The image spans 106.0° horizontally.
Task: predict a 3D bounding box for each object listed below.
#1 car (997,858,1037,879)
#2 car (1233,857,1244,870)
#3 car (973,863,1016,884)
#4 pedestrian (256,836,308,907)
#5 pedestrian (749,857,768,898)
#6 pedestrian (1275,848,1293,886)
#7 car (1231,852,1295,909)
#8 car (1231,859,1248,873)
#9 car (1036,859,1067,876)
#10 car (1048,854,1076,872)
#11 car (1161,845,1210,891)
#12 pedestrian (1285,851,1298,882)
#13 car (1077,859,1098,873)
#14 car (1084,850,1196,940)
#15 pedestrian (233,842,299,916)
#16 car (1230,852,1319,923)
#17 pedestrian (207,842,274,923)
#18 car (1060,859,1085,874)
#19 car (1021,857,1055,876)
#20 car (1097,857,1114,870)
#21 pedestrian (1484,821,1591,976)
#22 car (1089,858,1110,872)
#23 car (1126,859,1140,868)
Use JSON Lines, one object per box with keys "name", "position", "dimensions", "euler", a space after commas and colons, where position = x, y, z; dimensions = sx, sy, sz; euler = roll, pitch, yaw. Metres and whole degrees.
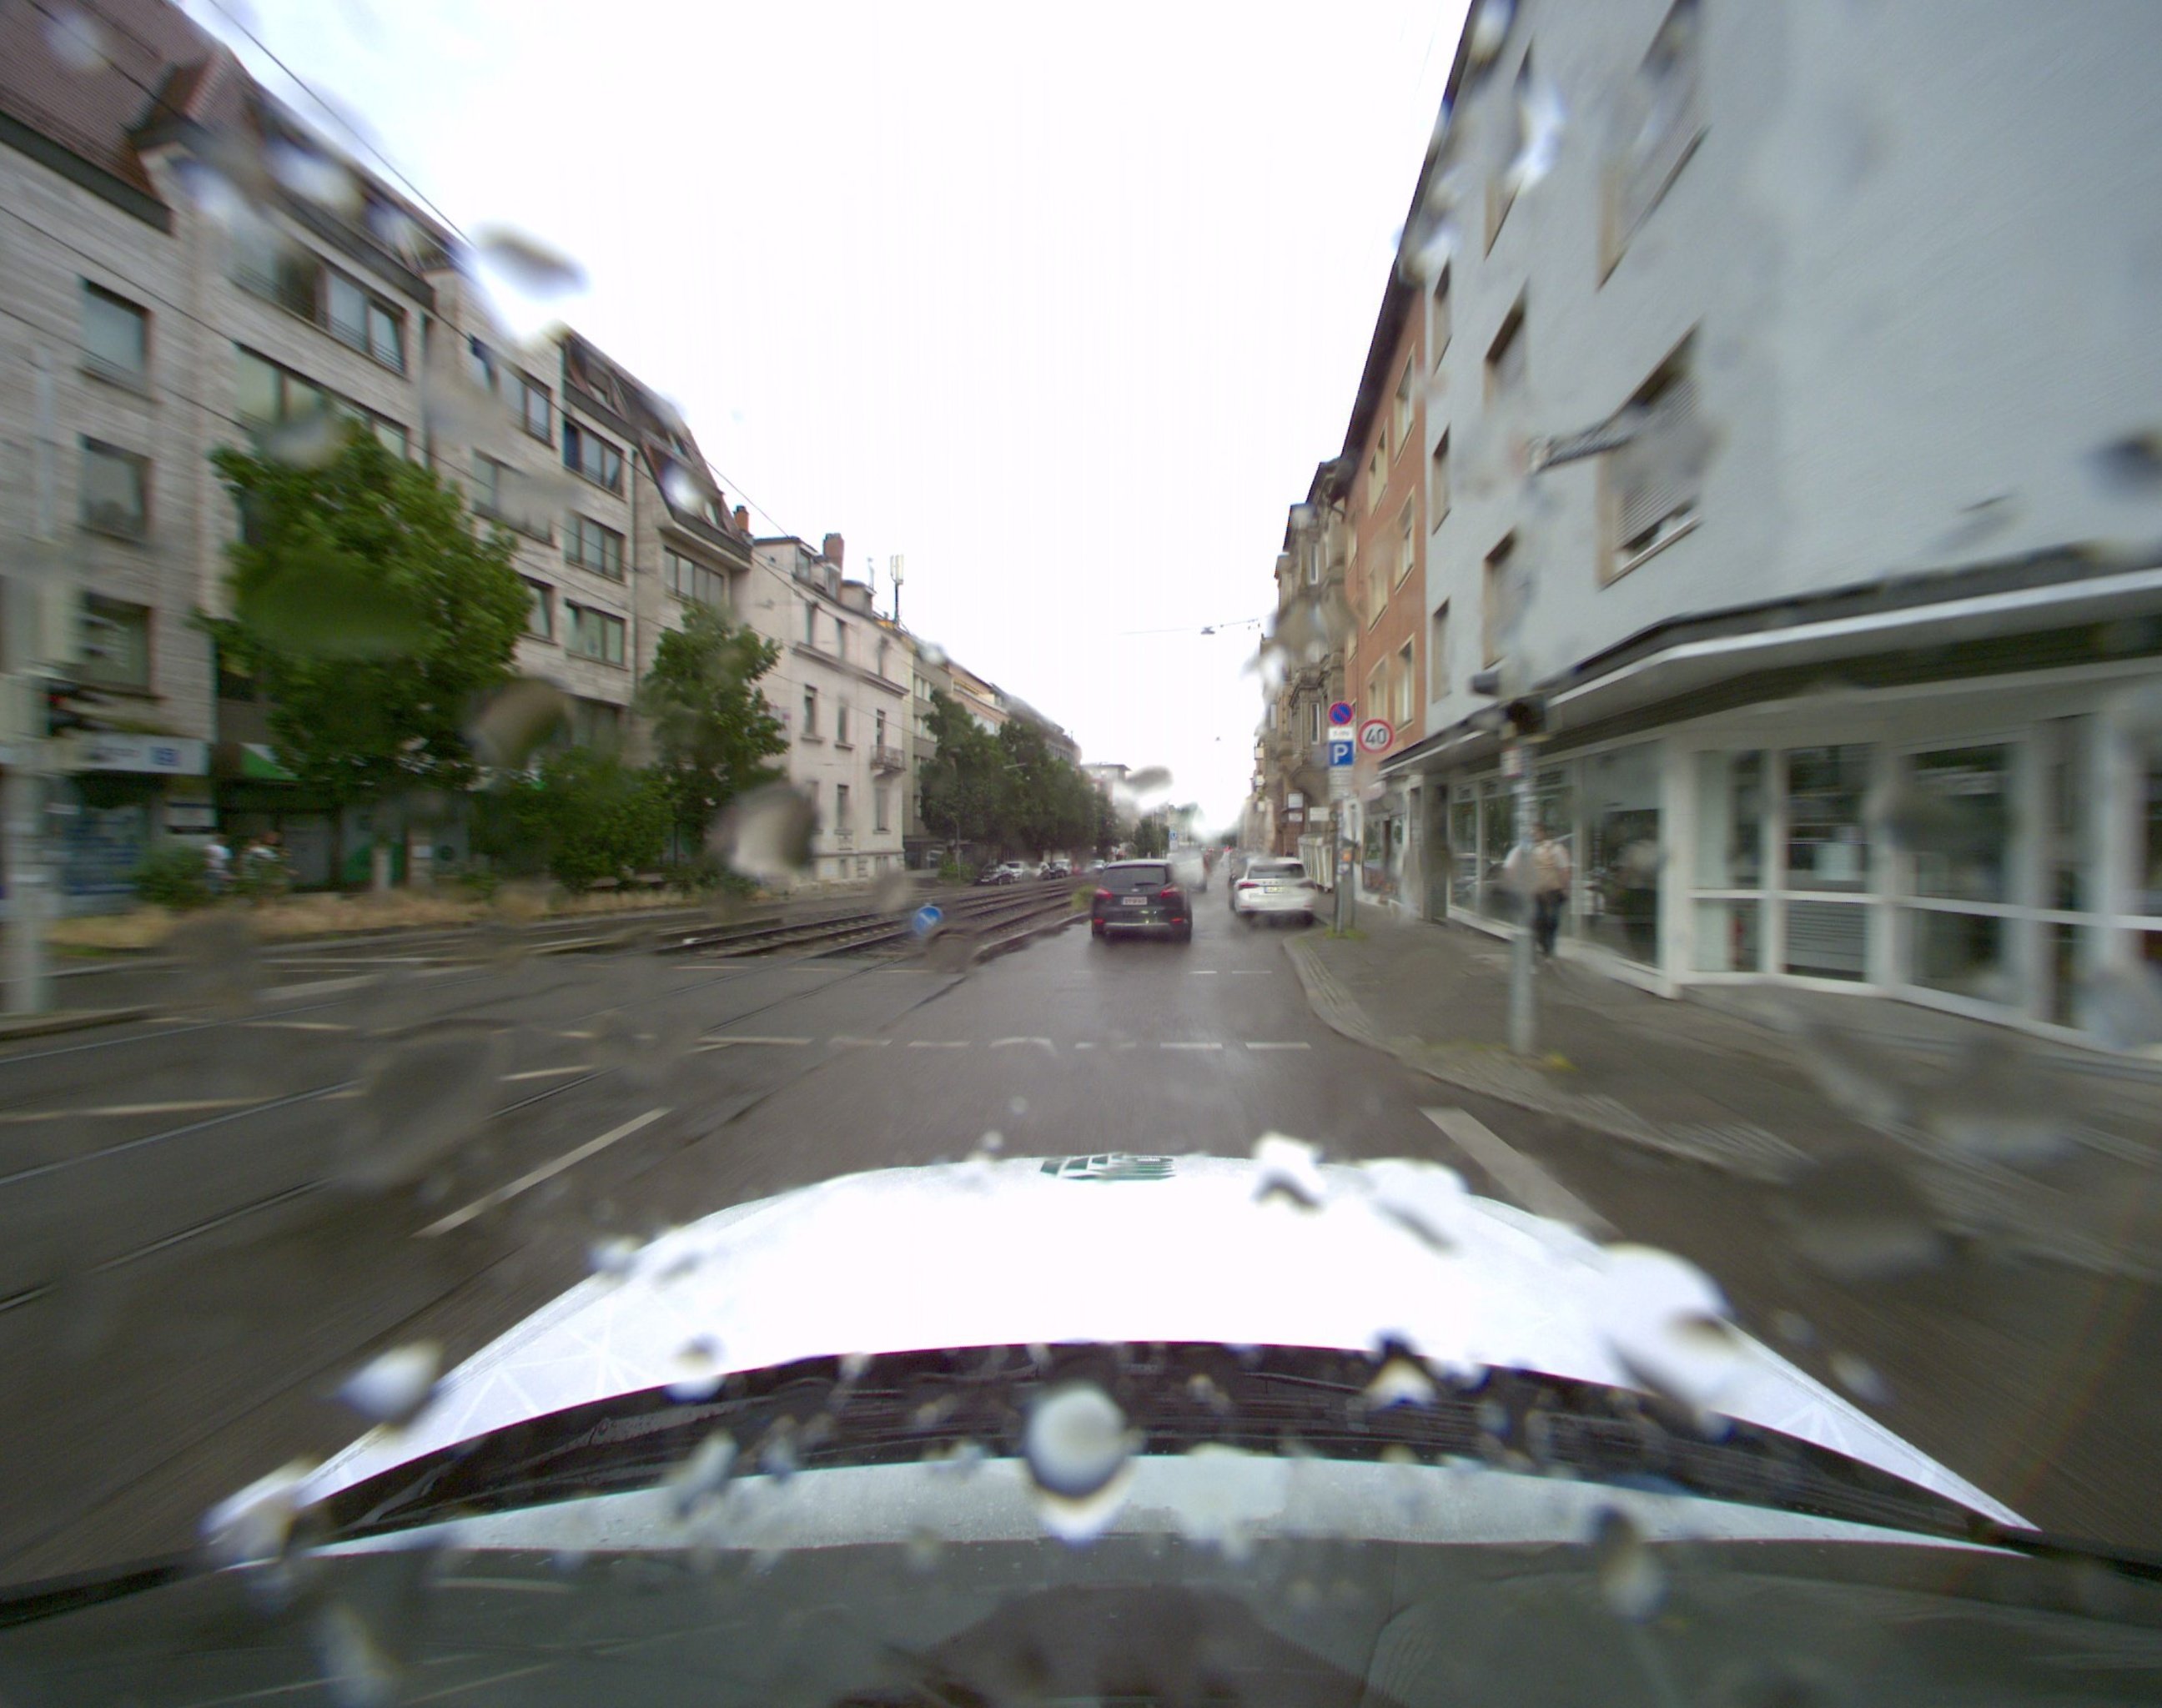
{"name": "car", "position": [-4.906, 1.115, 62.830], "dimensions": [1.844, 1.549, 4.734], "euler": [1, -2, 11]}
{"name": "car", "position": [23.810, 1.395, 122.949], "dimensions": [1.581, 1.781, 3.789], "euler": [2, -2, 11]}
{"name": "car", "position": [-5.948, 1.368, 56.670], "dimensions": [1.683, 1.378, 4.734], "euler": [1, -2, 11]}
{"name": "pedestrian", "position": [-18.412, 0.408, 18.770], "dimensions": [0.501, 1.598, 0.587], "euler": [2, -2, 8]}
{"name": "pedestrian", "position": [-13.331, 0.982, 33.708], "dimensions": [0.466, 1.652, 0.581], "euler": [2, -2, -2]}
{"name": "pedestrian", "position": [9.947, 0.639, 39.880], "dimensions": [0.699, 1.819, 0.964], "euler": [-3, 0, 10]}
{"name": "car", "position": [5.733, 0.822, 26.021], "dimensions": [1.833, 1.632, 4.599], "euler": [0, -1, 11]}
{"name": "car", "position": [16.450, 1.230, 84.761], "dimensions": [1.660, 1.421, 3.486], "euler": [-1, -1, 10]}
{"name": "car", "position": [-2.669, 1.263, 74.148], "dimensions": [1.843, 1.418, 4.444], "euler": [-2, -2, 11]}
{"name": "car", "position": [-1.858, 0.933, 80.081], "dimensions": [1.844, 1.701, 4.444], "euler": [1, -2, 11]}
{"name": "car", "position": [5.040, 0.608, 38.913], "dimensions": [1.975, 2.060, 4.659], "euler": [0, 0, 11]}
{"name": "pedestrian", "position": [10.895, 0.675, 42.172], "dimensions": [0.516, 1.579, 0.679], "euler": [-3, -3, 10]}
{"name": "car", "position": [0.815, 1.401, 92.853], "dimensions": [1.657, 1.558, 4.057], "euler": [1, -2, 11]}
{"name": "car", "position": [1.257, 0.731, 15.720], "dimensions": [1.832, 1.507, 4.009], "euler": [-1, -1, 8]}
{"name": "pedestrian", "position": [-17.788, 0.539, 17.785], "dimensions": [0.644, 1.549, 0.685], "euler": [2, -2, 8]}
{"name": "car", "position": [4.463, 0.757, 19.254], "dimensions": [1.790, 1.456, 4.599], "euler": [-1, -2, 11]}
{"name": "pedestrian", "position": [-18.469, 0.620, 17.913], "dimensions": [0.644, 1.724, 0.685], "euler": [2, -2, 8]}
{"name": "car", "position": [-0.862, 1.369, 86.027], "dimensions": [1.844, 1.527, 4.057], "euler": [1, -2, 11]}
{"name": "car", "position": [-3.596, 1.116, 69.167], "dimensions": [1.844, 1.549, 4.444], "euler": [1, -2, 11]}
{"name": "car", "position": [3.261, 1.293, 108.810], "dimensions": [1.684, 1.574, 4.057], "euler": [1, -2, 11]}
{"name": "pedestrian", "position": [4.870, 0.463, 8.733], "dimensions": [0.686, 1.572, 0.762], "euler": [-1, -2, -1]}
{"name": "car", "position": [2.342, 1.412, 102.196], "dimensions": [1.843, 1.637, 4.949], "euler": [1, -2, 11]}
{"name": "car", "position": [9.121, 1.661, 142.051], "dimensions": [1.844, 1.637, 4.057], "euler": [1, -2, 11]}
